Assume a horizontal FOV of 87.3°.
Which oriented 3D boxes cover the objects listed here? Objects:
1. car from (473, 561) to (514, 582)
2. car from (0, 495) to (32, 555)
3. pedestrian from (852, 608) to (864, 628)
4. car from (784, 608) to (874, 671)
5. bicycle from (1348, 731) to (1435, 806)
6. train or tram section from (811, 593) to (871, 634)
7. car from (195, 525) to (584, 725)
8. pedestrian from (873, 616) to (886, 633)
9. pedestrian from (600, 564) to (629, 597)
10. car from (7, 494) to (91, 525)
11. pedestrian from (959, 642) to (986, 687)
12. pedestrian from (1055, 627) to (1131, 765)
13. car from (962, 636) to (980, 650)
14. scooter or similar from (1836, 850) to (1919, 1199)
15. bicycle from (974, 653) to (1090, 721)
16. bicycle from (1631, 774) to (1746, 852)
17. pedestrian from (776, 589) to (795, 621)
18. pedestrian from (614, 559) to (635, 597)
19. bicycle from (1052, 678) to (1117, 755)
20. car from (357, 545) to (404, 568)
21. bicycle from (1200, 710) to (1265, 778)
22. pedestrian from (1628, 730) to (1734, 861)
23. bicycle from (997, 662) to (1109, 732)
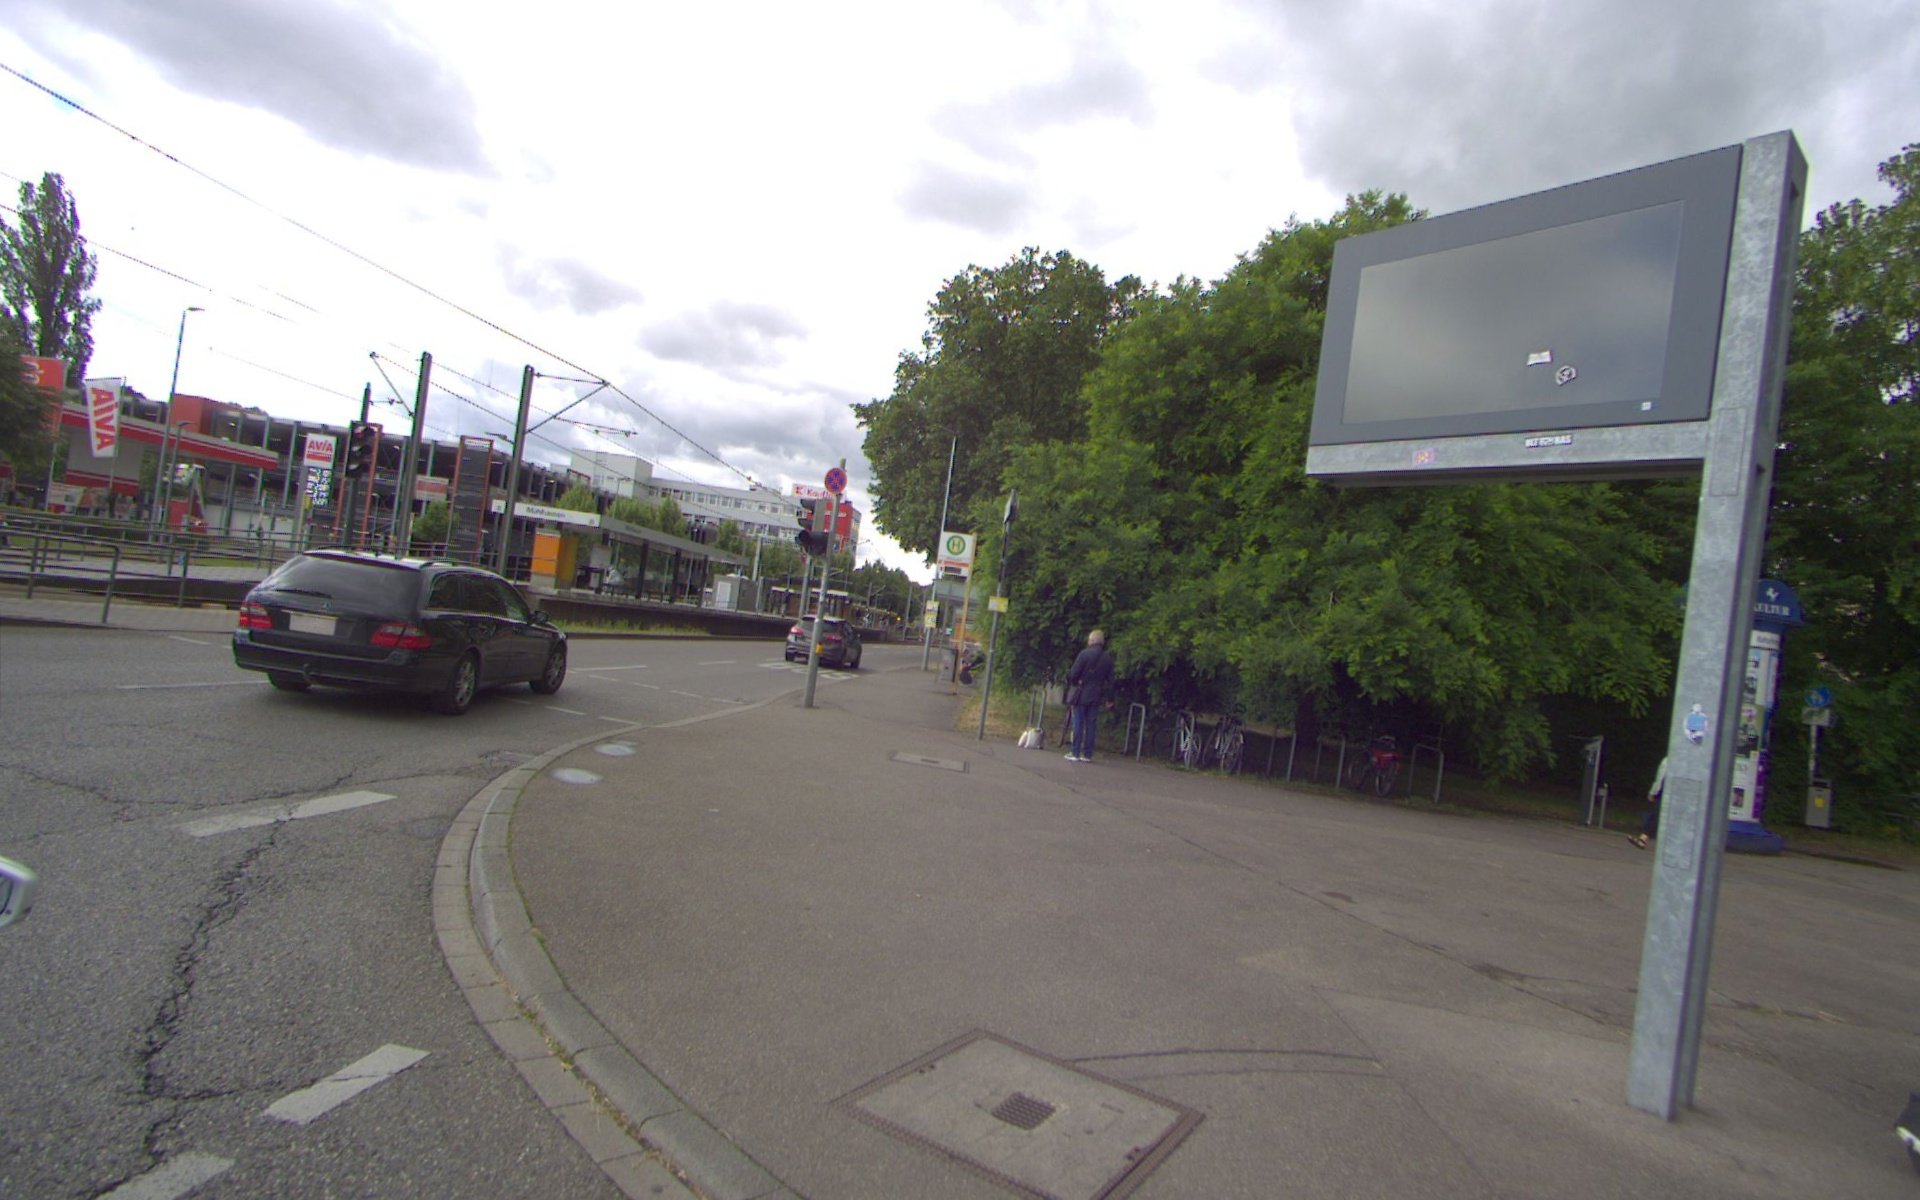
[{"bbox_3d":[-45.771,-2.801,98.730,1.749,1.556,4.005,7,-2,4],"label":"car"},{"bbox_3d":[-25.702,-2.146,24.848,1.601,1.470,3.834,8,-2,6],"label":"car"},{"bbox_3d":[-9.295,1.664,91.919,0.759,1.697,0.791,7,-1,4],"label":"pedestrian"},{"bbox_3d":[-4.025,1.248,31.571,1.797,1.547,4.420,9,-2,4],"label":"car"},{"bbox_3d":[6.646,2.575,15.595,0.469,0.866,1.739,9,-2,0],"label":"bicycle"},{"bbox_3d":[-13.615,1.755,117.389,2.713,3.928,18.646,8,-1,5],"label":"train or tram section"},{"bbox_3d":[-5.807,0.287,11.015,1.807,1.494,4.415,8,-2,-4],"label":"car"},{"bbox_3d":[-8.319,2.519,103.919,0.870,1.697,0.737,8,-2,-42],"label":"pedestrian"},{"bbox_3d":[-14.418,-0.811,42.042,0.757,1.203,0.729,8,-1,8],"label":"pedestrian"},{"bbox_3d":[-63.344,-6.265,70.010,1.880,1.381,4.064,7,-3,3],"label":"car"},{"bbox_3d":[0.352,1.775,27.714,0.591,1.171,0.547,7,-1,4],"label":"pedestrian"},{"bbox_3d":[1.823,1.308,13.806,0.681,1.773,0.418,9,-1,-22],"label":"pedestrian"},{"bbox_3d":[1.483,5.642,130.862,1.797,1.547,4.421,8,-2,6],"label":"car"},{"bbox_3d":[3.614,1.510,3.147,0.642,1.124,1.233,8,-2,7],"label":"scooter or similar"},{"bbox_3d":[1.364,1.646,19.121,2.006,0.950,0.592,9,-1,19],"label":"bicycle"},{"bbox_3d":[11.424,3.317,15.841,0.469,0.866,1.658,9,-2,0],"label":"bicycle"},{"bbox_3d":[-10.504,0.307,60.696,0.737,1.764,0.938,6,-1,4],"label":"pedestrian"},{"bbox_3d":[-15.005,-0.980,44.994,0.561,1.639,0.586,6,-1,4],"label":"pedestrian"},{"bbox_3d":[1.885,1.759,15.463,0.515,0.917,1.850,7,0,-5],"label":"bicycle"},{"bbox_3d":[-50.206,-3.731,87.262,1.689,1.431,3.565,7,-2,5],"label":"car"},{"bbox_3d":[4.183,2.196,15.552,0.469,0.817,1.515,9,-2,0],"label":"bicycle"},{"bbox_3d":[9.506,2.561,13.285,0.742,1.531,0.671,8,-1,-5],"label":"pedestrian"},{"bbox_3d":[1.636,1.702,17.711,1.837,0.936,0.545,8,0,6],"label":"bicycle"}]
